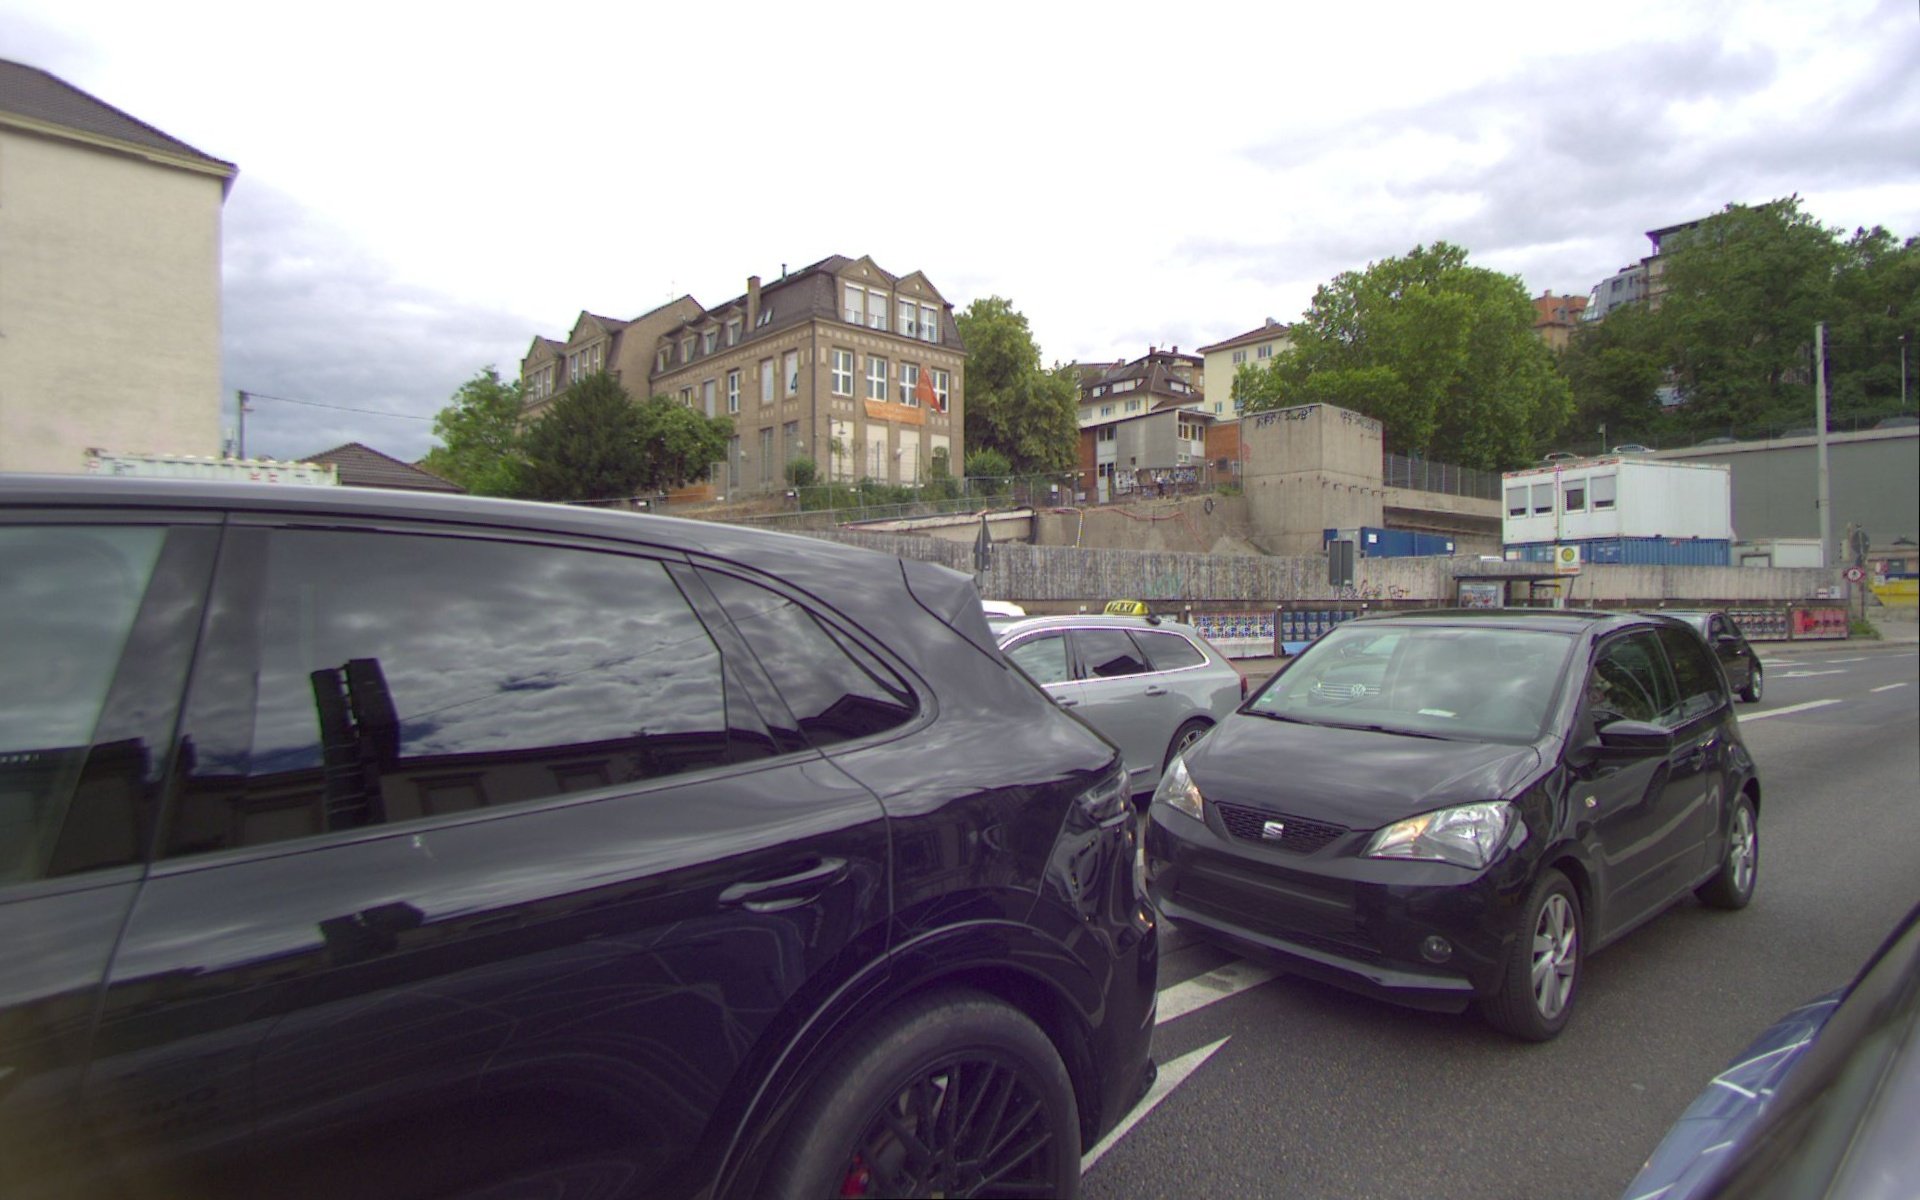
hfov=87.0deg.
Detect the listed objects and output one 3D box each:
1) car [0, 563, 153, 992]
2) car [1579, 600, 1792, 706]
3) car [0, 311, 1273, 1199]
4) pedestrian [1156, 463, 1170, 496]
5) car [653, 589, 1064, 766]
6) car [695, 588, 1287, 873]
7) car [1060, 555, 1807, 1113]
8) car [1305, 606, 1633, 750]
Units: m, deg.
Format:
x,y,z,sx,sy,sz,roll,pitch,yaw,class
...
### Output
x,y,z,sx,sy,sz,roll,pitch,yaw,class
-5.056,0.642,3.461,3.581,1.529,1.826,-1,0,-39,car
11.501,0.763,15.980,3.711,1.478,1.721,1,-2,-38,car
-1.651,0.562,1.671,4.497,1.689,1.998,-1,0,-39,car
11.820,-6.987,58.818,0.558,1.817,0.555,0,0,-30,pedestrian
-0.934,0.639,10.608,4.004,1.484,1.824,-1,0,-42,car
0.405,0.664,7.345,4.142,1.484,1.825,-1,0,-40,car
2.417,0.638,4.724,3.841,1.575,1.661,-1,0,-39,car
6.029,0.776,11.810,4.139,1.381,1.827,1,0,-38,car
